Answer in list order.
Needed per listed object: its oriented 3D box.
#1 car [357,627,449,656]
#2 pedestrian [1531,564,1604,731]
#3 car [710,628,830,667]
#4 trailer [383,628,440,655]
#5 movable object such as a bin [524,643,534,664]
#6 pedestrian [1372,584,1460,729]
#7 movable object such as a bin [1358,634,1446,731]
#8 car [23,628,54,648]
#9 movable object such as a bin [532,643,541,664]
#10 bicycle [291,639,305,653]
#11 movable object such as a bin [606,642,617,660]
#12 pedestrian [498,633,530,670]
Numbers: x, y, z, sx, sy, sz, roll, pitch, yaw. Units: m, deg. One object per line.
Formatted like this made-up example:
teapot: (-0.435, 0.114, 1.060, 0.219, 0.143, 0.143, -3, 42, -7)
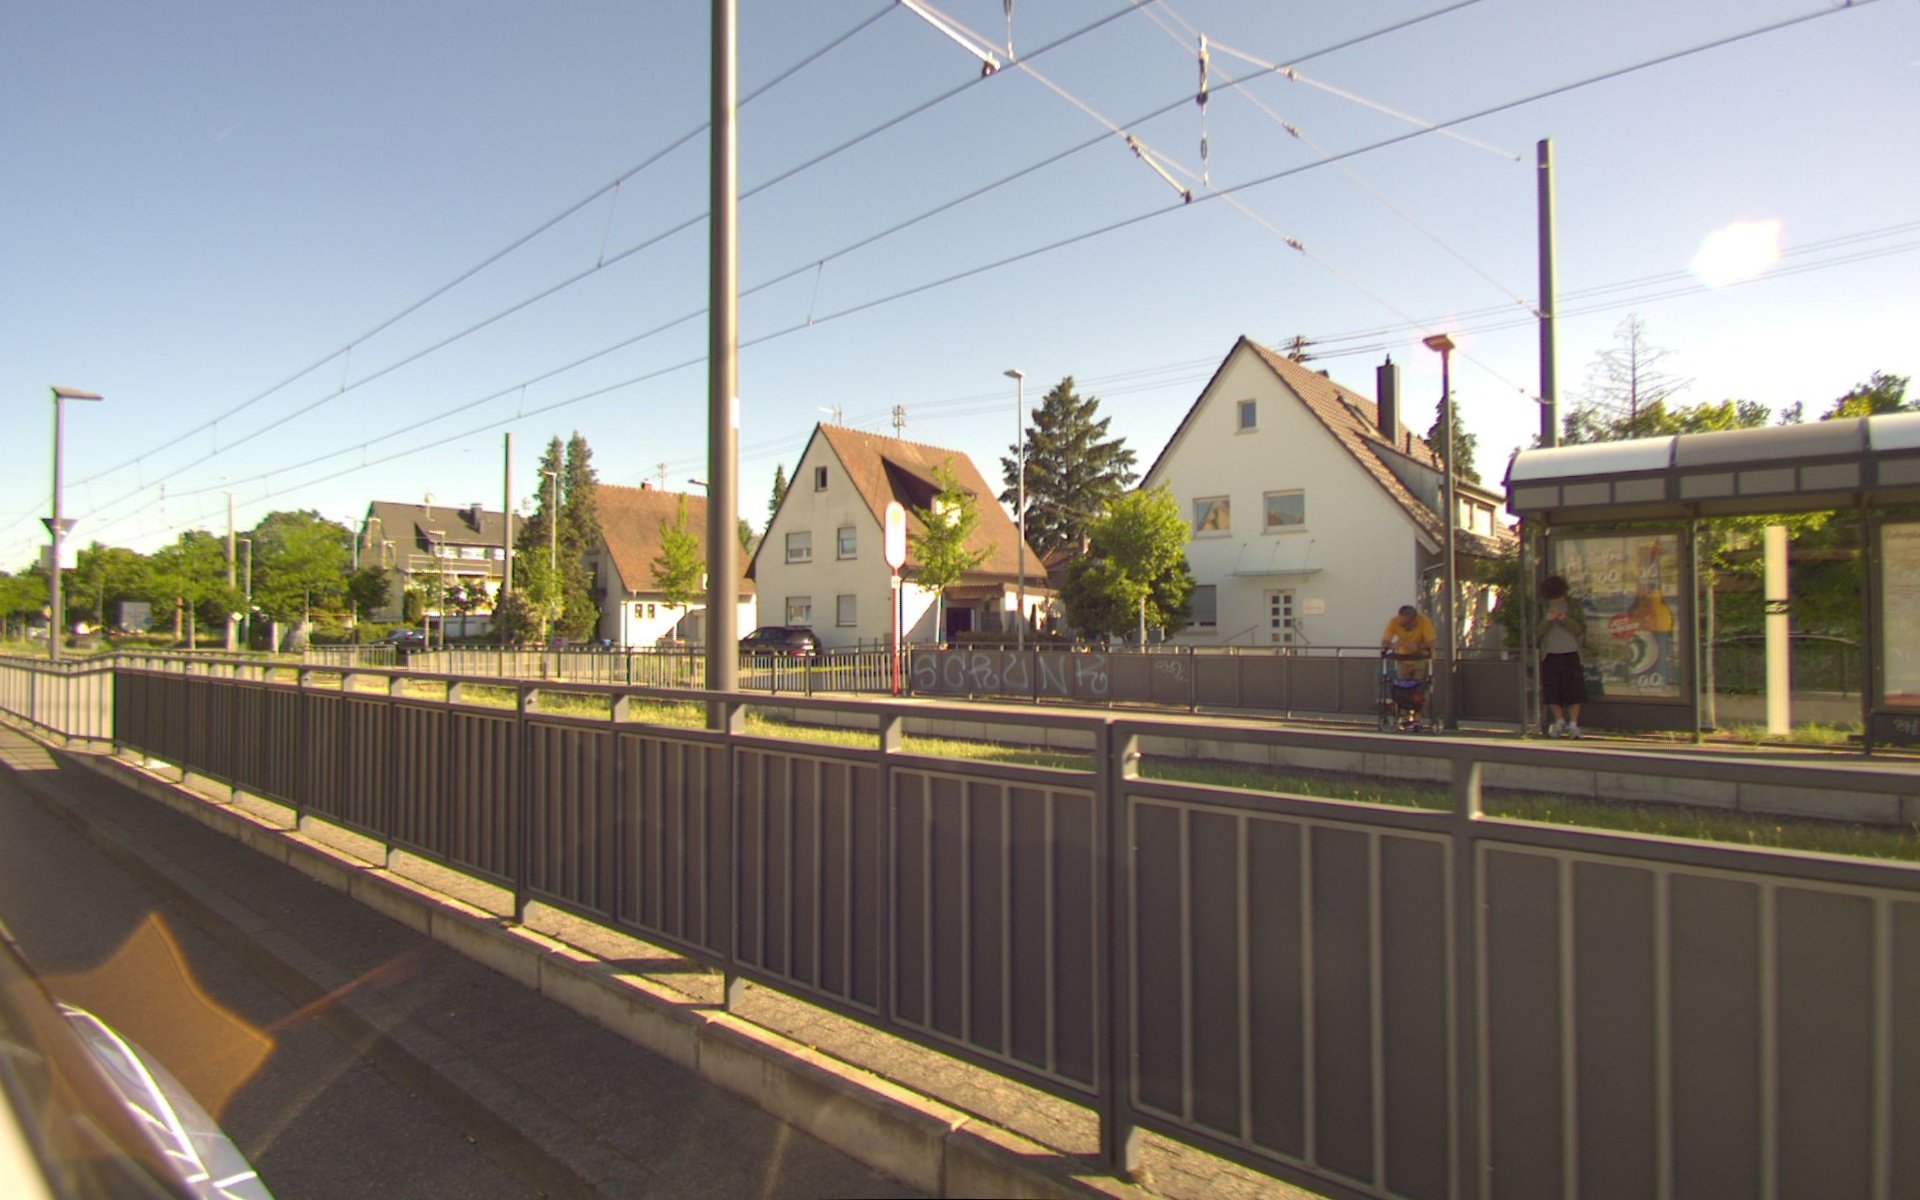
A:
car: (-33.883, 2.507, 61.644, 2.044, 1.748, 4.509, -1, -2, 30)
pedestrian: (6.483, 0.499, 10.796, 0.580, 1.721, 0.515, -2, -2, 37)
car: (-7.553, 1.829, 39.955, 5.160, 1.461, 1.914, -1, -2, 41)
trailer: (-34.743, 2.608, 64.160, 1.397, 1.660, 2.885, -1, -2, 38)
movable object such as a bin: (-20.672, 2.577, 48.560, 0.350, 0.977, 0.323, -1, 0, 37)
pedestrian: (5.095, 0.617, 11.315, 0.748, 1.547, 0.669, -2, -2, 37)
movable object such as a bin: (4.730, 0.865, 10.837, 0.740, 0.995, 0.541, -2, -2, 37)
car: (-94.694, 3.889, 103.992, 4.701, 1.929, 1.877, -2, -2, 42)
movable object such as a bin: (-20.424, 2.578, 48.788, 0.333, 0.973, 0.295, -1, 0, 37)
bicycle: (-47.126, 3.274, 72.025, 1.748, 0.949, 0.419, -1, 0, 42)
movable object such as a bin: (-17.789, 2.611, 51.657, 0.451, 0.904, 0.367, -1, 0, 37)
pedestrian: (-20.268, 2.314, 45.998, 1.085, 1.653, 0.955, -2, -2, 41)
